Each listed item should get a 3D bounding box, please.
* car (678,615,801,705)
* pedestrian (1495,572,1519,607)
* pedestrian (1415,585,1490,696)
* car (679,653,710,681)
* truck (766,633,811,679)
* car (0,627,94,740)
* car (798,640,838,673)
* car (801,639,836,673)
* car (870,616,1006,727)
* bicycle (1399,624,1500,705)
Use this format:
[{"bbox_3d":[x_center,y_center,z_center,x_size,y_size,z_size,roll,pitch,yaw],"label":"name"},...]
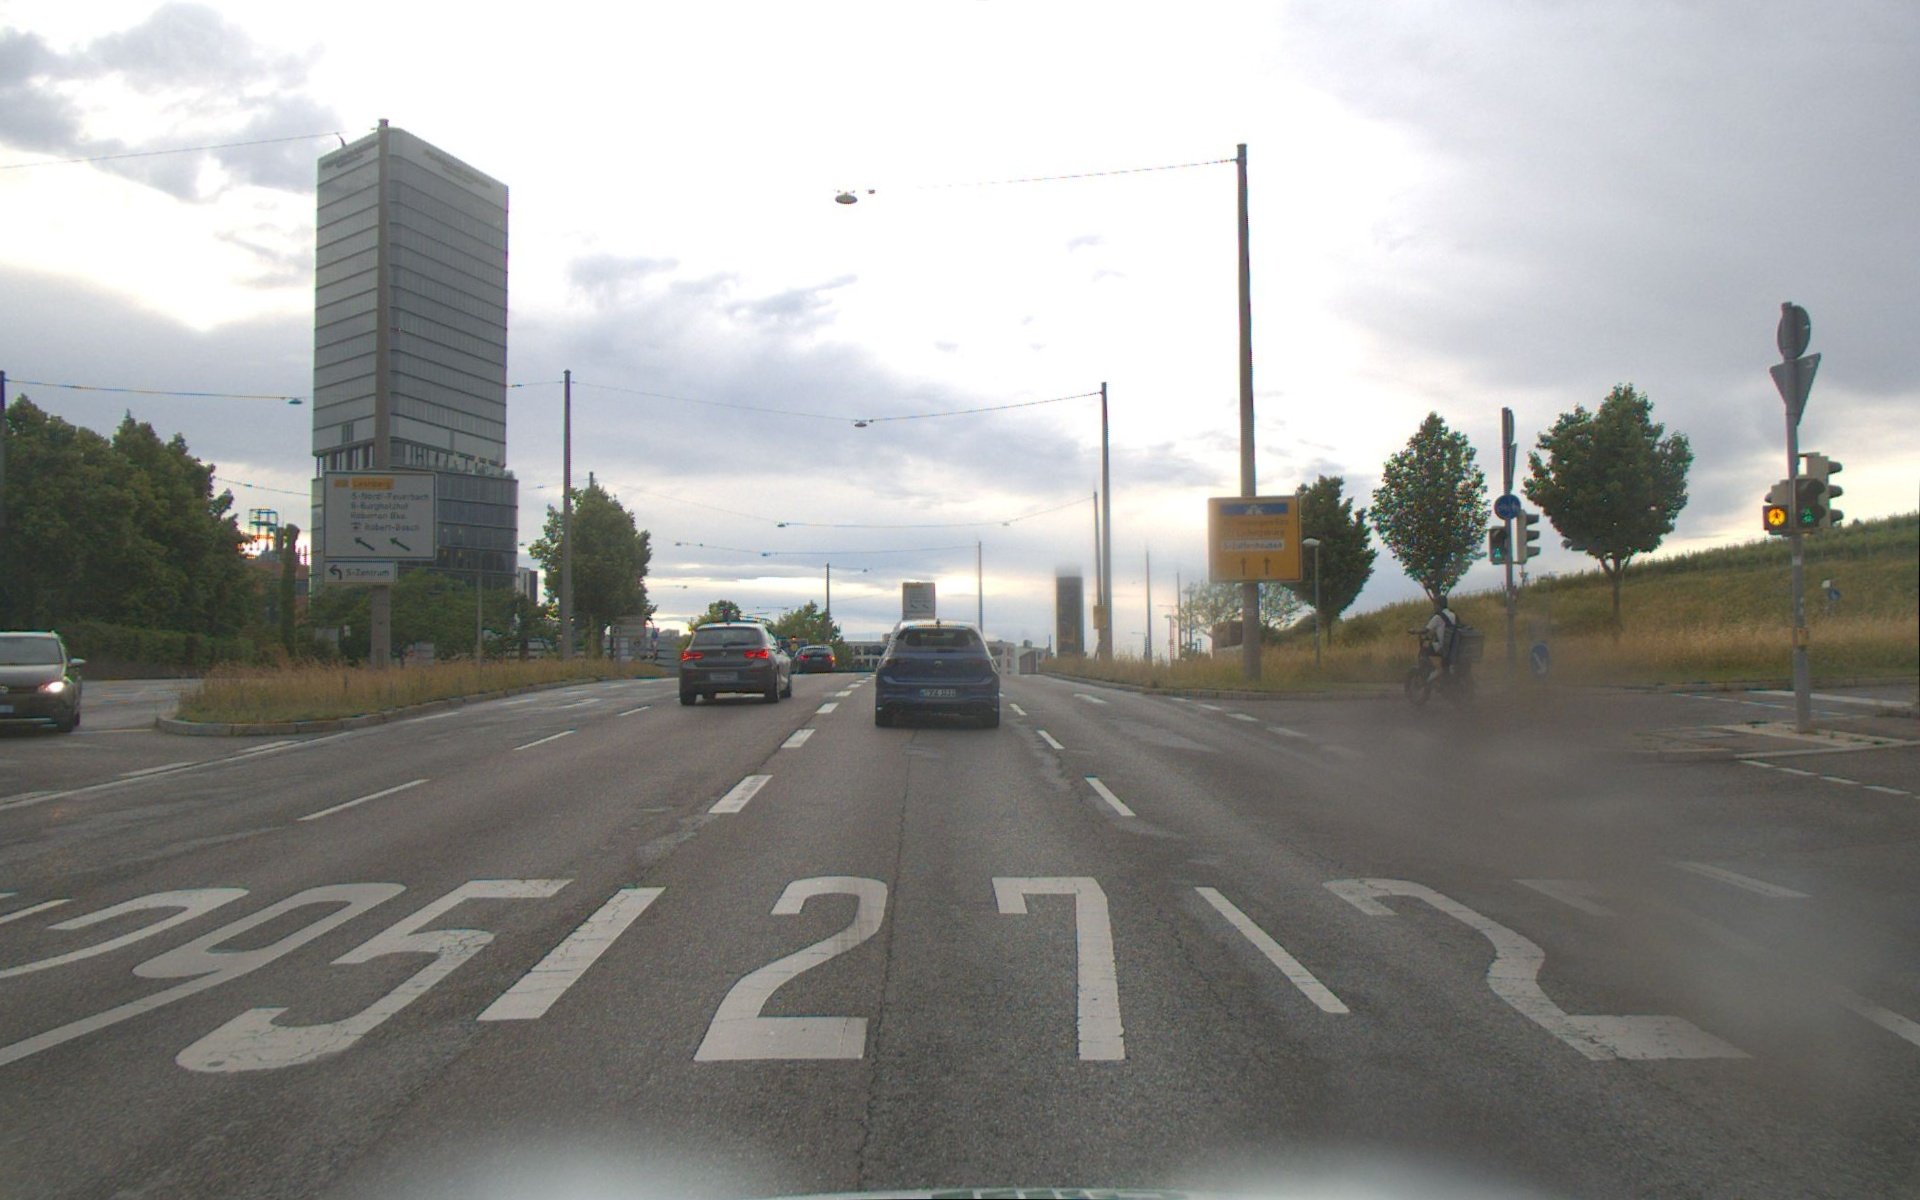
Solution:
[{"bbox_3d":[-3.991,1.046,30.479,1.831,1.487,3.974,-1,0,-2],"label":"car"},{"bbox_3d":[33.475,-0.649,101.254,0.772,2.049,1.043,-2,-1,-34],"label":"pedestrian"},{"bbox_3d":[7.395,0.595,24.870,0.622,1.598,0.892,-4,1,-13],"label":"pedestrian"},{"bbox_3d":[-21.175,5.300,131.983,1.961,2.049,3.983,-2,0,-16],"label":"car"},{"bbox_3d":[-12.670,4.173,121.629,2.620,3.277,6.527,1,-3,-12],"label":"truck"},{"bbox_3d":[-14.021,1.183,24.388,1.864,1.534,3.971,-1,-1,-23],"label":"car"},{"bbox_3d":[-7.380,2.958,86.406,1.686,1.568,3.704,1,0,1],"label":"car"},{"bbox_3d":[-9.030,3.594,105.352,1.869,2.008,5.081,-2,-3,-9],"label":"car"},{"bbox_3d":[-0.294,0.967,24.041,1.800,1.418,4.000,0,0,0],"label":"car"},{"bbox_3d":[7.382,0.959,25.040,0.622,1.124,1.747,-4,0,-13],"label":"bicycle"}]
